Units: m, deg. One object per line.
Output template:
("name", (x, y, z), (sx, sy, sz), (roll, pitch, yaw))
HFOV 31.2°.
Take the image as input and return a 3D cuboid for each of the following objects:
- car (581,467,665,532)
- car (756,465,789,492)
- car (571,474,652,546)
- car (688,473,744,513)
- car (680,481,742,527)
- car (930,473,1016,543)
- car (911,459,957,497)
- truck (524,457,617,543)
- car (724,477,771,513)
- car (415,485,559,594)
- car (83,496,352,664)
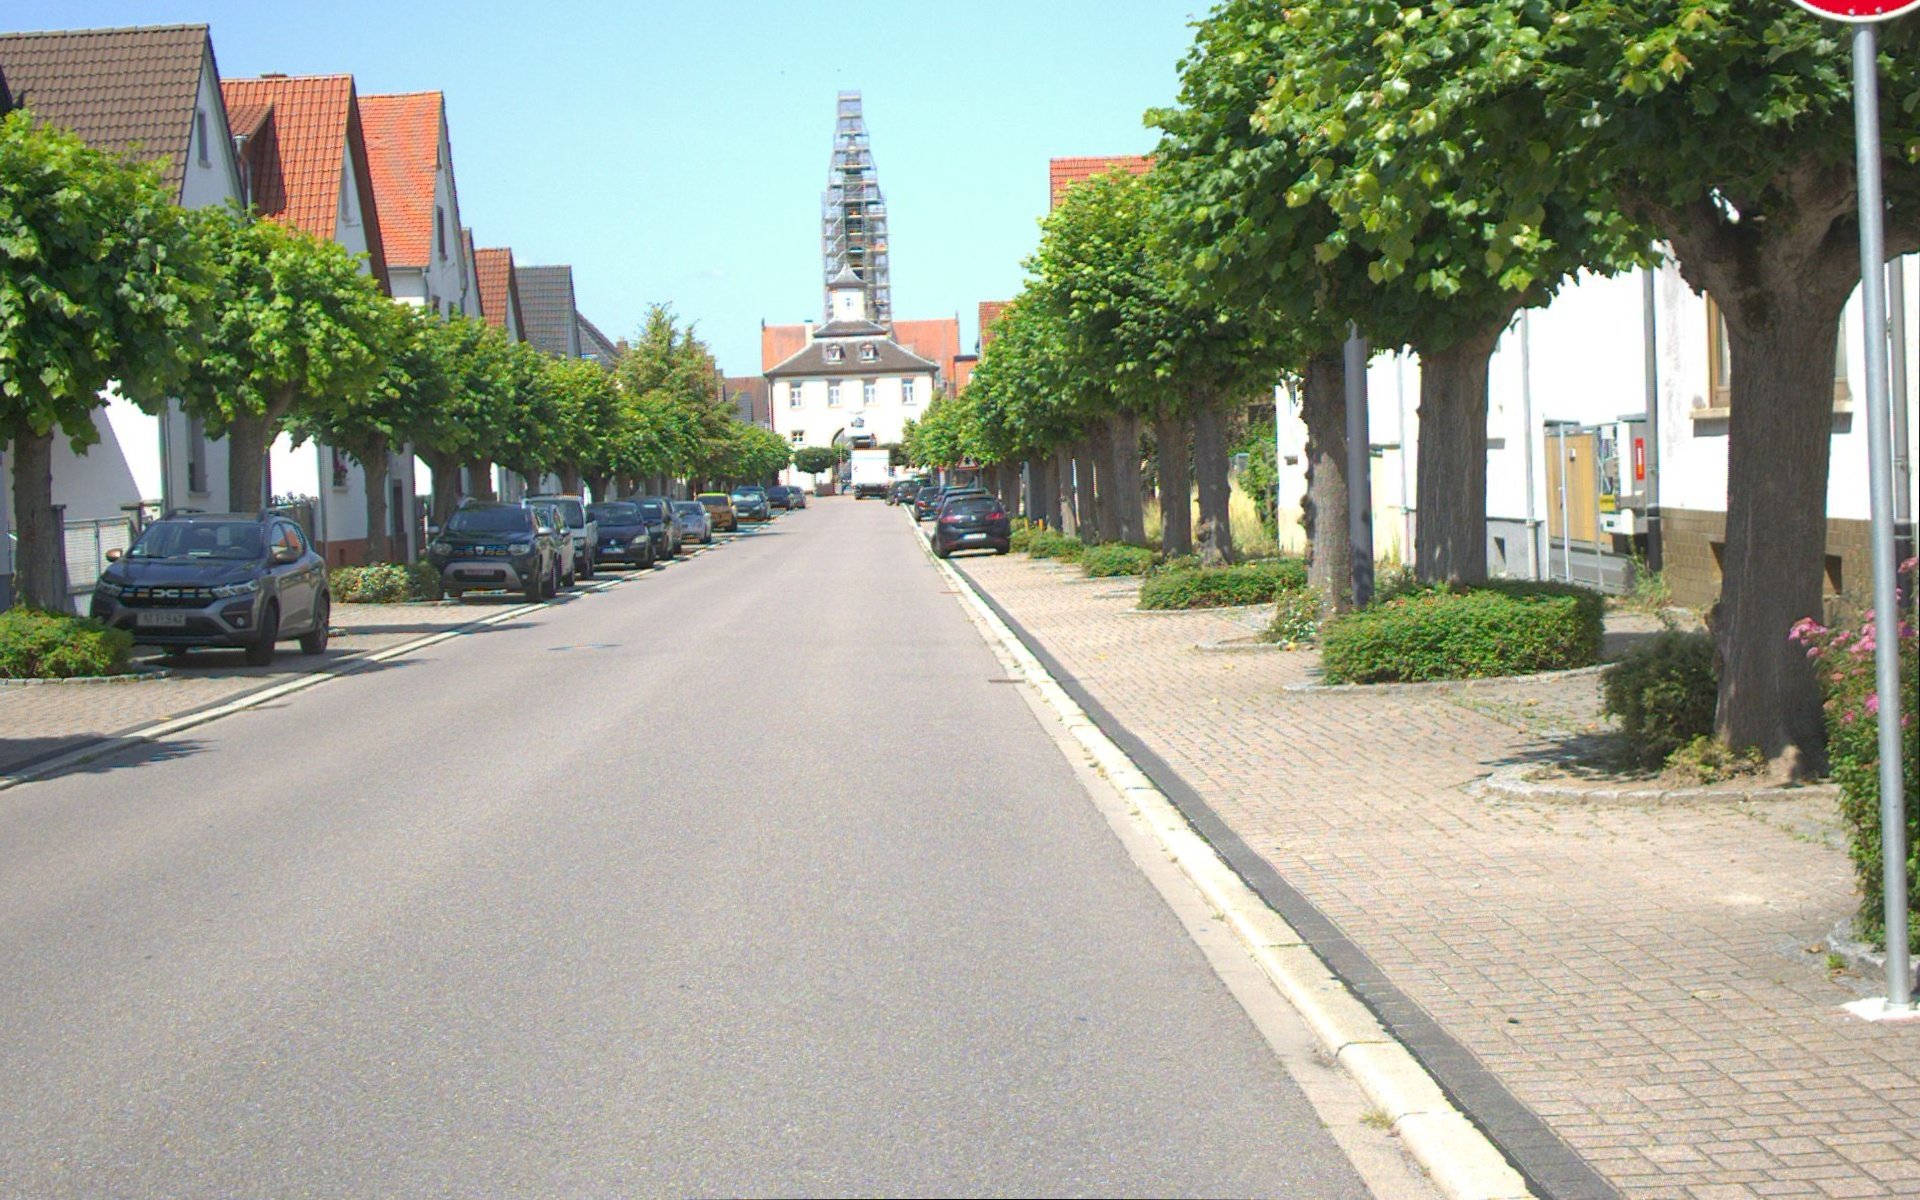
("car", (-8.677, -2.616, 88.898), (1.853, 1.629, 4.057), (-1, 2, -1))
("car", (-11.342, -7.357, 207.737), (1.757, 1.550, 4.021), (-2, 3, -1))
("car", (-8.201, -2.129, 80.686), (1.785, 1.628, 4.001), (-1, 2, -7))
("car", (-10.145, -4.479, 143.257), (1.993, 1.606, 4.689), (-1, 2, 0))
("car", (-8.208, -3.190, 113.717), (1.840, 1.391, 4.407), (-1, 2, -2))
("car", (0.281, -2.195, 81.322), (1.824, 1.427, 4.057), (-4, 3, -1))
("car", (-1.164, -5.367, 150.880), (1.837, 1.549, 4.314), (-4, 3, -1))
("truck", (-8.186, -2.135, 72.542), (1.576, 1.759, 4.193), (0, 2, -1))
("car", (-10.175, -5.049, 164.966), (1.993, 1.605, 4.690), (0, 3, 0))
("car", (-7.649, -1.022, 55.951), (1.853, 1.630, 4.300), (0, 3, -1))
("car", (-7.632, -0.259, 35.719), (1.853, 1.607, 4.135), (0, 2, 1))
